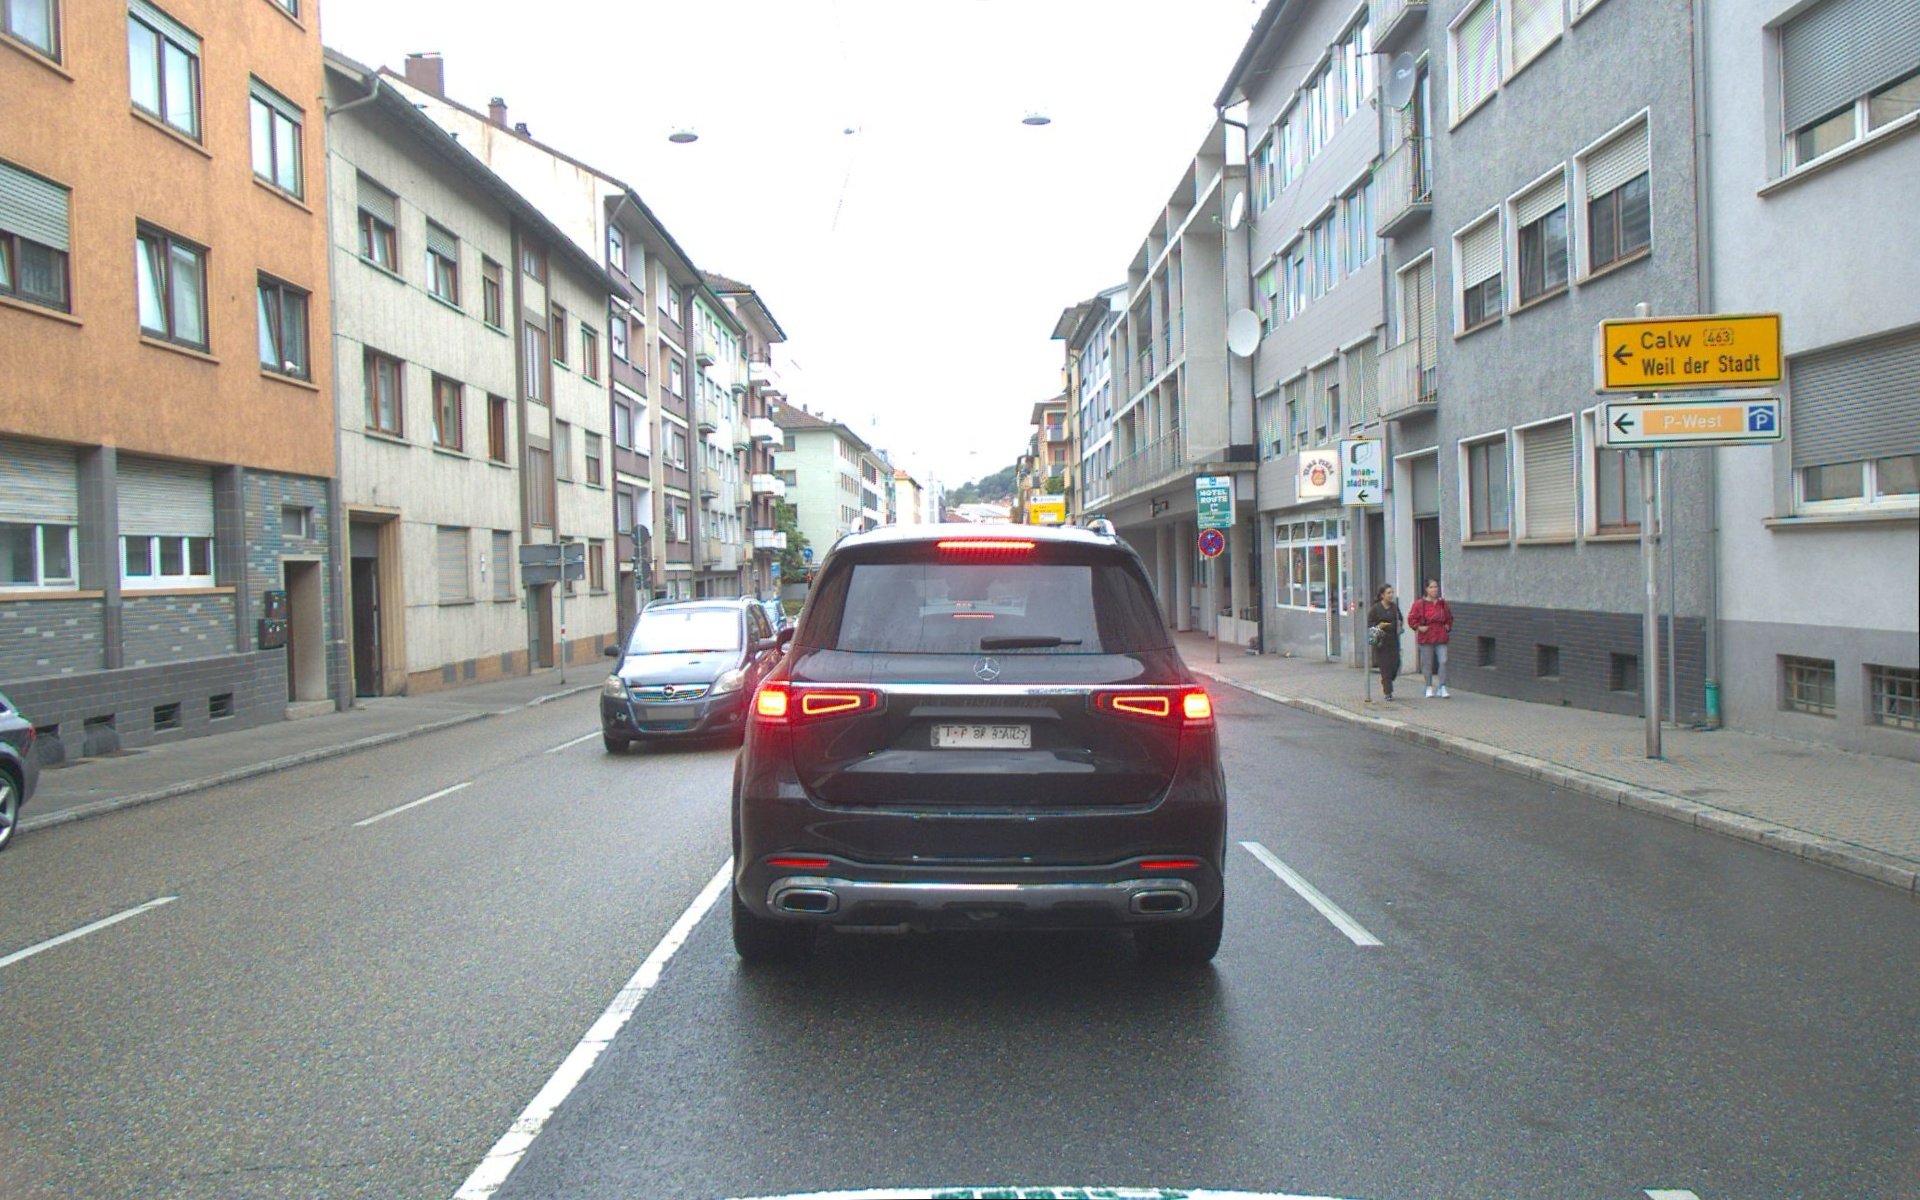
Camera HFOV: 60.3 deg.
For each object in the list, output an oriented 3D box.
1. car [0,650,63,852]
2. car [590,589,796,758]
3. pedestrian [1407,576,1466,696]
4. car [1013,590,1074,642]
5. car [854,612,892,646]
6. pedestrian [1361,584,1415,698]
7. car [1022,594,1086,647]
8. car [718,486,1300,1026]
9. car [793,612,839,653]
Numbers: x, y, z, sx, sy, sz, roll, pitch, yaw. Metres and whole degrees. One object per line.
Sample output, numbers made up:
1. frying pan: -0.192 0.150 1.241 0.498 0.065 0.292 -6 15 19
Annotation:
1. car: -7.963 1.128 10.840 1.759 1.463 4.525 1 0 -1
2. car: -2.949 0.747 19.037 1.698 1.602 4.010 -5 0 -1
3. pedestrian: 6.584 0.489 22.853 0.549 1.606 0.526 -4 0 -2
4. car: 3.009 0.546 60.200 1.901 1.806 4.745 0 0 -1
5. car: -4.182 1.370 79.836 1.615 1.464 4.124 -3 0 -1
6. pedestrian: 5.920 0.561 22.886 0.496 1.526 0.562 -4 0 -2
7. car: 2.946 0.627 52.459 1.731 1.608 3.999 0 0 -1
8. car: 0.129 0.540 7.720 1.984 1.837 3.999 1 0 -1
9. car: -6.267 1.391 72.161 1.615 1.603 4.124 -3 0 -1
